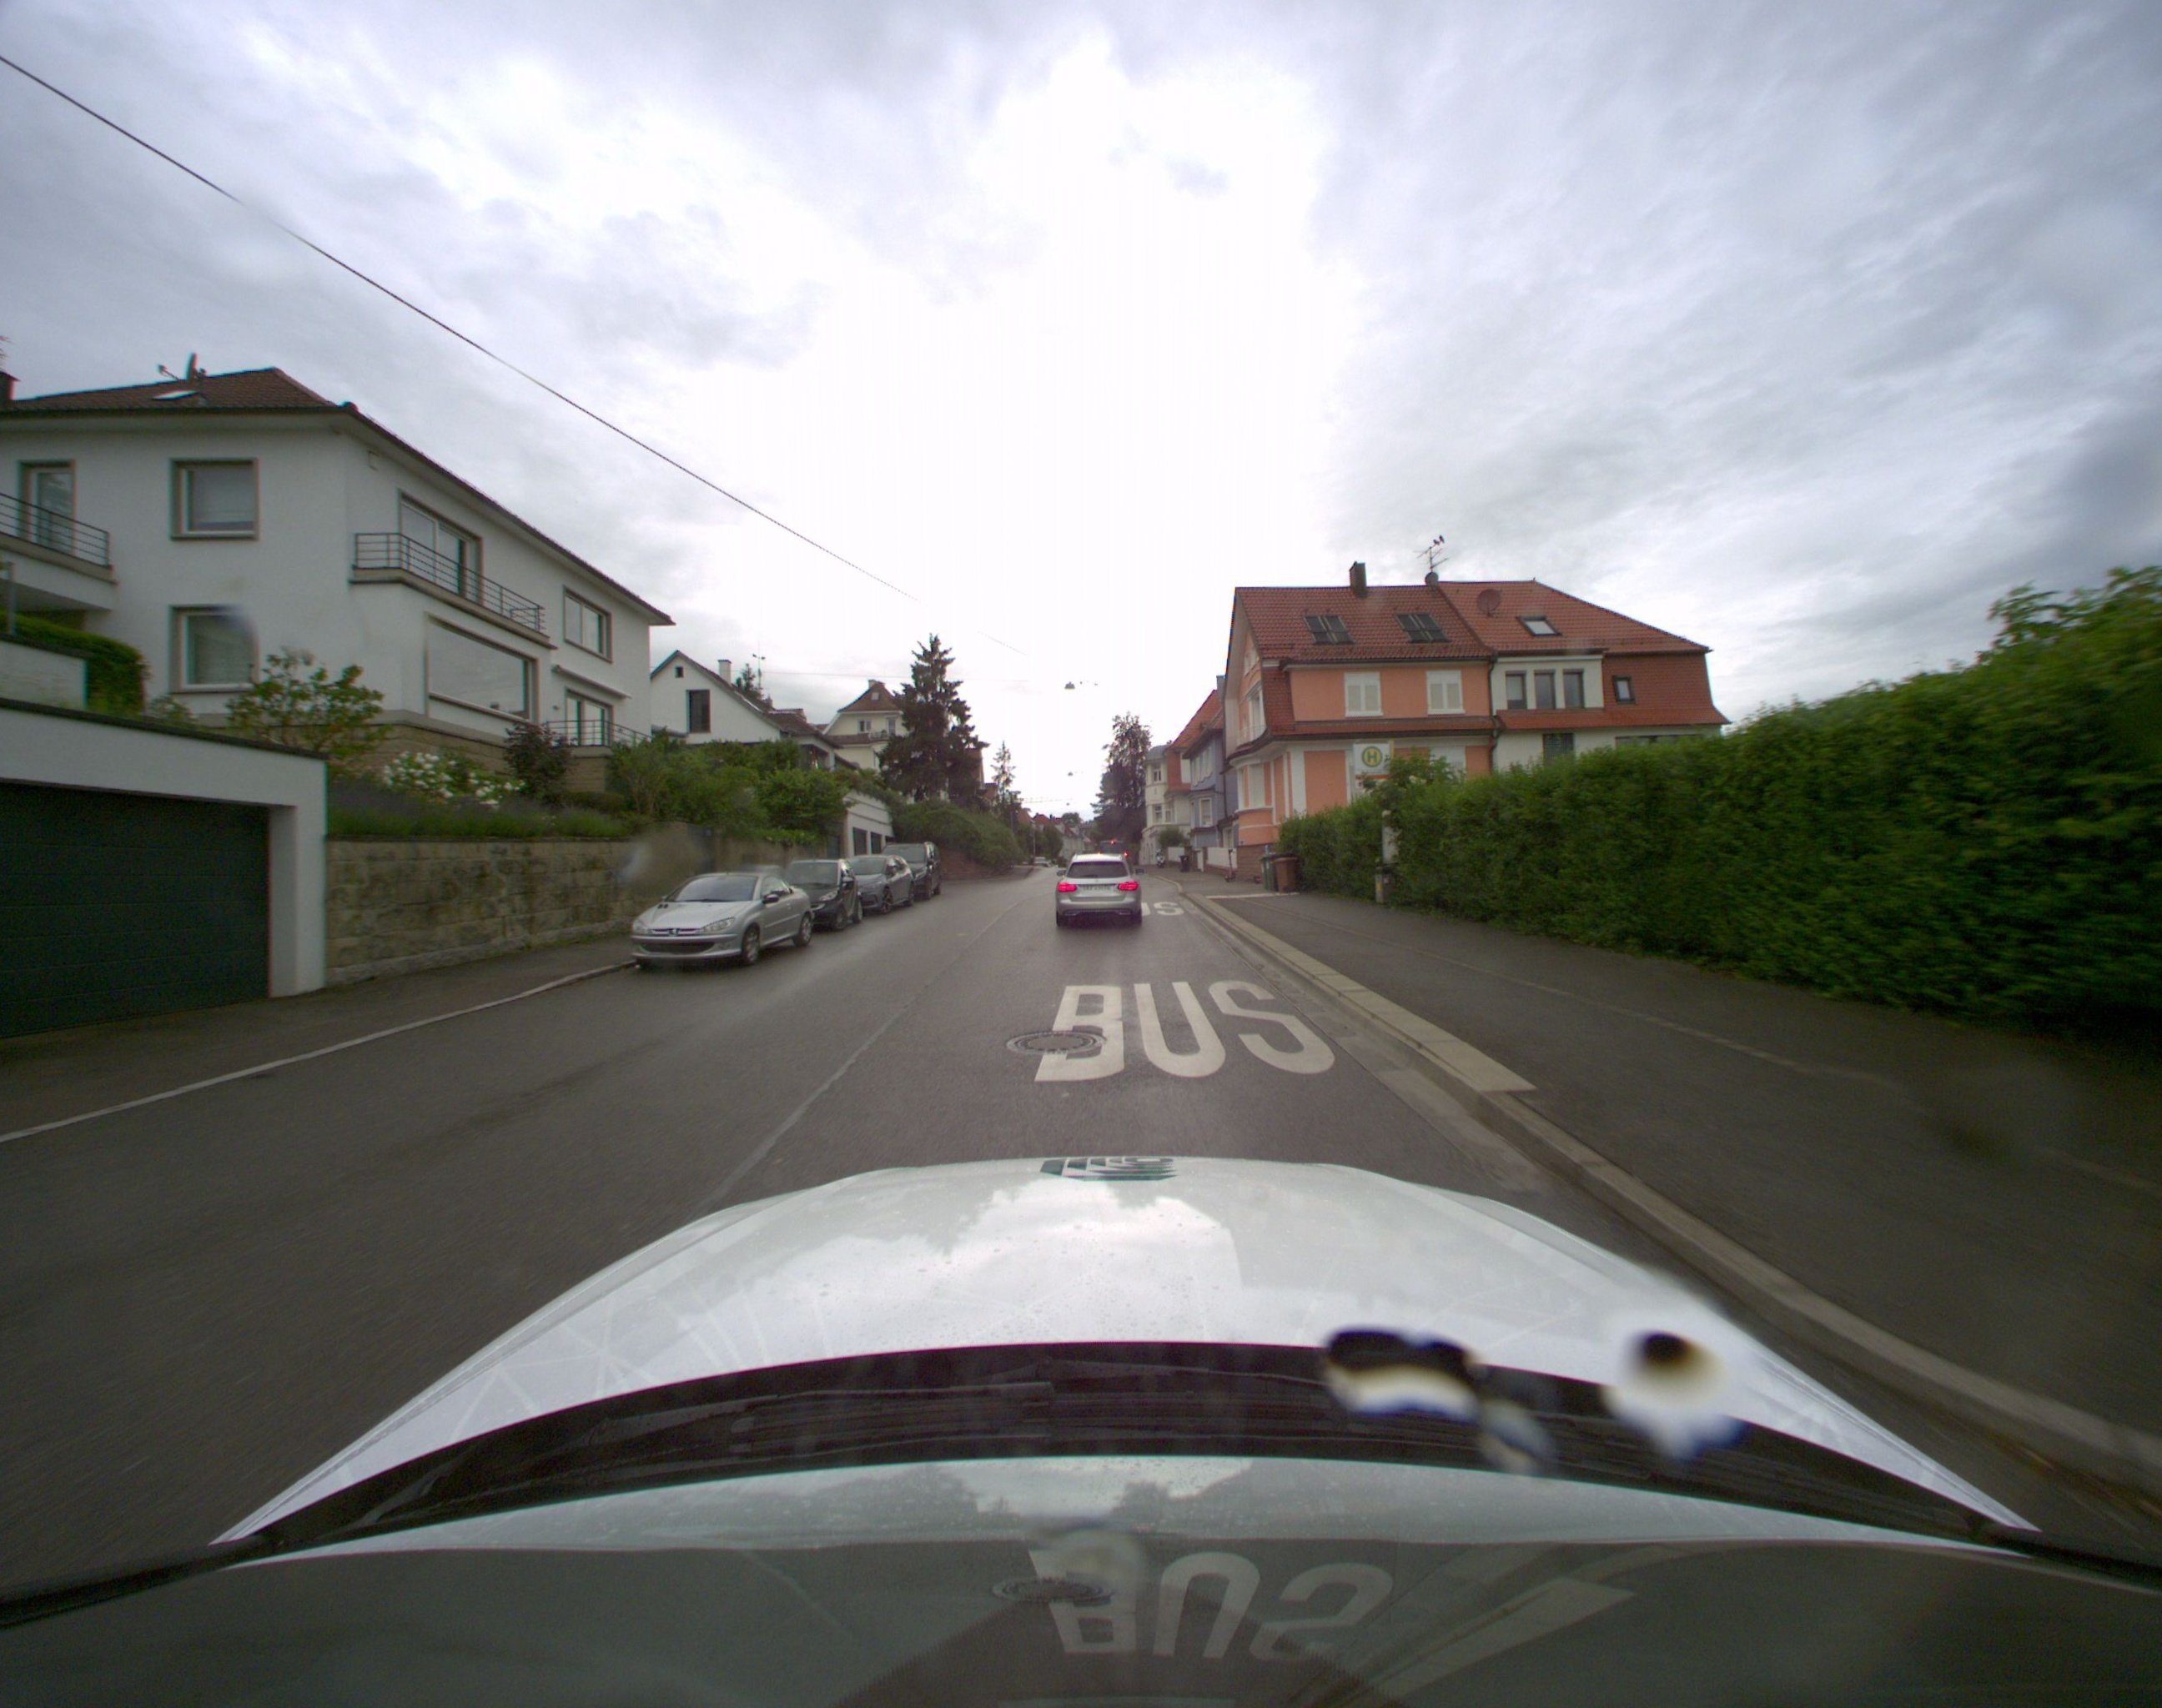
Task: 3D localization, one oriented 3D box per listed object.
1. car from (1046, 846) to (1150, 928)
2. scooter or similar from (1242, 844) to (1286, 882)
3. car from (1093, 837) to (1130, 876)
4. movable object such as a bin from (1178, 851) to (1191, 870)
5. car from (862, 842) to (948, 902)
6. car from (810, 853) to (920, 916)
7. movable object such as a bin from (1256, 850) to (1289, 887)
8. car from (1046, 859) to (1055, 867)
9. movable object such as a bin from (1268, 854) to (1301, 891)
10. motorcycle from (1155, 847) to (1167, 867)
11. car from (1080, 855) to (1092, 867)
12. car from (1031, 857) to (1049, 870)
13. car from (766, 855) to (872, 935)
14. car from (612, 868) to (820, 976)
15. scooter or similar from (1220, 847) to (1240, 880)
[{"bbox_3d":[0.373,0.619,17.923,1.976,1.553,4.299,-1,1,1],"label":"car"},{"bbox_3d":[6.318,0.308,28.114,1.245,1.224,0.699,-5,-1,32],"label":"scooter or similar"},{"bbox_3d":[1.655,0.102,44.017,1.817,1.882,4.097,-3,1,2],"label":"car"},{"bbox_3d":[5.528,0.358,43.522,0.547,0.936,0.634,-5,0,0],"label":"movable object such as a bin"},{"bbox_3d":[-6.017,0.537,28.583,2.125,1.860,5.586,-1,0,-4],"label":"car"},{"bbox_3d":[-5.856,0.768,22.663,1.892,1.515,4.341,-1,1,0],"label":"car"},{"bbox_3d":[5.602,0.411,23.893,0.709,1.029,0.757,-4,1,-2],"label":"movable object such as a bin"},{"bbox_3d":[-5.546,1.659,148.371,1.632,1.314,3.474,-3,1,-2],"label":"car"},{"bbox_3d":[5.478,0.496,21.941,0.573,0.969,0.663,-1,1,-33],"label":"movable object such as a bin"},{"bbox_3d":[5.227,0.179,53.269,0.579,1.261,2.333,-4,0,3],"label":"motorcycle"},{"bbox_3d":[1.147,1.630,181.016,2.457,2.399,4.003,-5,0,2],"label":"car"},{"bbox_3d":[-5.093,1.122,102.020,2.111,1.471,4.015,-2,1,-2],"label":"car"},{"bbox_3d":[-5.743,0.838,18.170,1.494,1.524,3.154,-2,1,-5],"label":"car"},{"bbox_3d":[-5.668,0.971,13.203,1.604,1.337,3.840,-2,1,0],"label":"car"},{"bbox_3d":[5.822,0.352,31.848,0.689,1.224,1.302,-2,1,7],"label":"scooter or similar"}]
